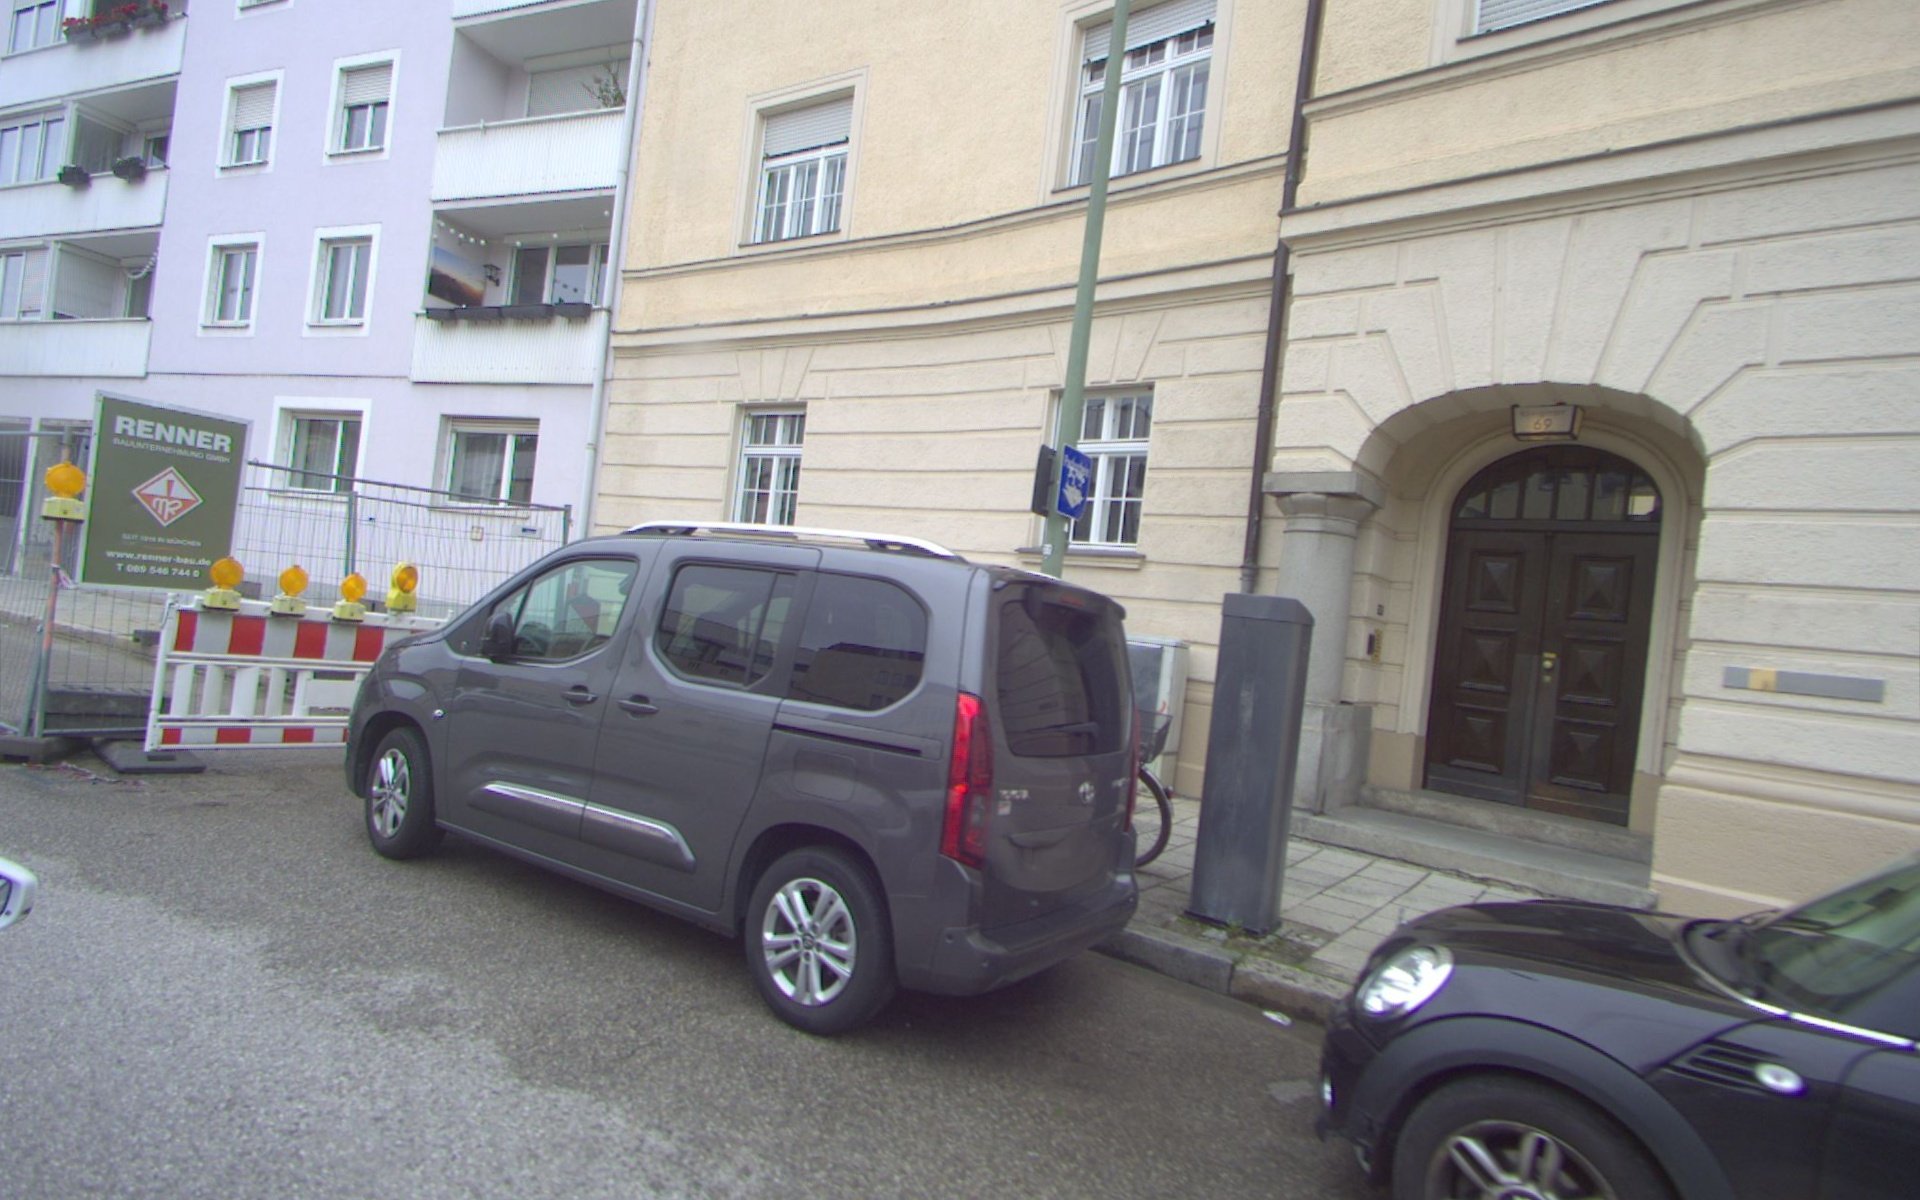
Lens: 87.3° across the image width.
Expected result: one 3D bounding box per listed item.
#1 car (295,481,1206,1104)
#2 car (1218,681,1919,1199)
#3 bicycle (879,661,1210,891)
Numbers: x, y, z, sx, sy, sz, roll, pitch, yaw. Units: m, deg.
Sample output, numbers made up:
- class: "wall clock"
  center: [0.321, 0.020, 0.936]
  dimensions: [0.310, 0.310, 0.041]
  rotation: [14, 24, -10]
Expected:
- class: "car"
  center: [-1.196, 0.566, 5.027]
  dimensions: [4.205, 1.827, 1.781]
  rotation: [6, -2, 32]
- class: "car"
  center: [2.768, 1.201, 2.226]
  dimensions: [3.776, 1.463, 1.707]
  rotation: [6, -3, 41]
- class: "bicycle"
  center: [0.480, 1.026, 6.300]
  dimensions: [1.922, 1.026, 0.580]
  rotation: [7, -1, 34]
